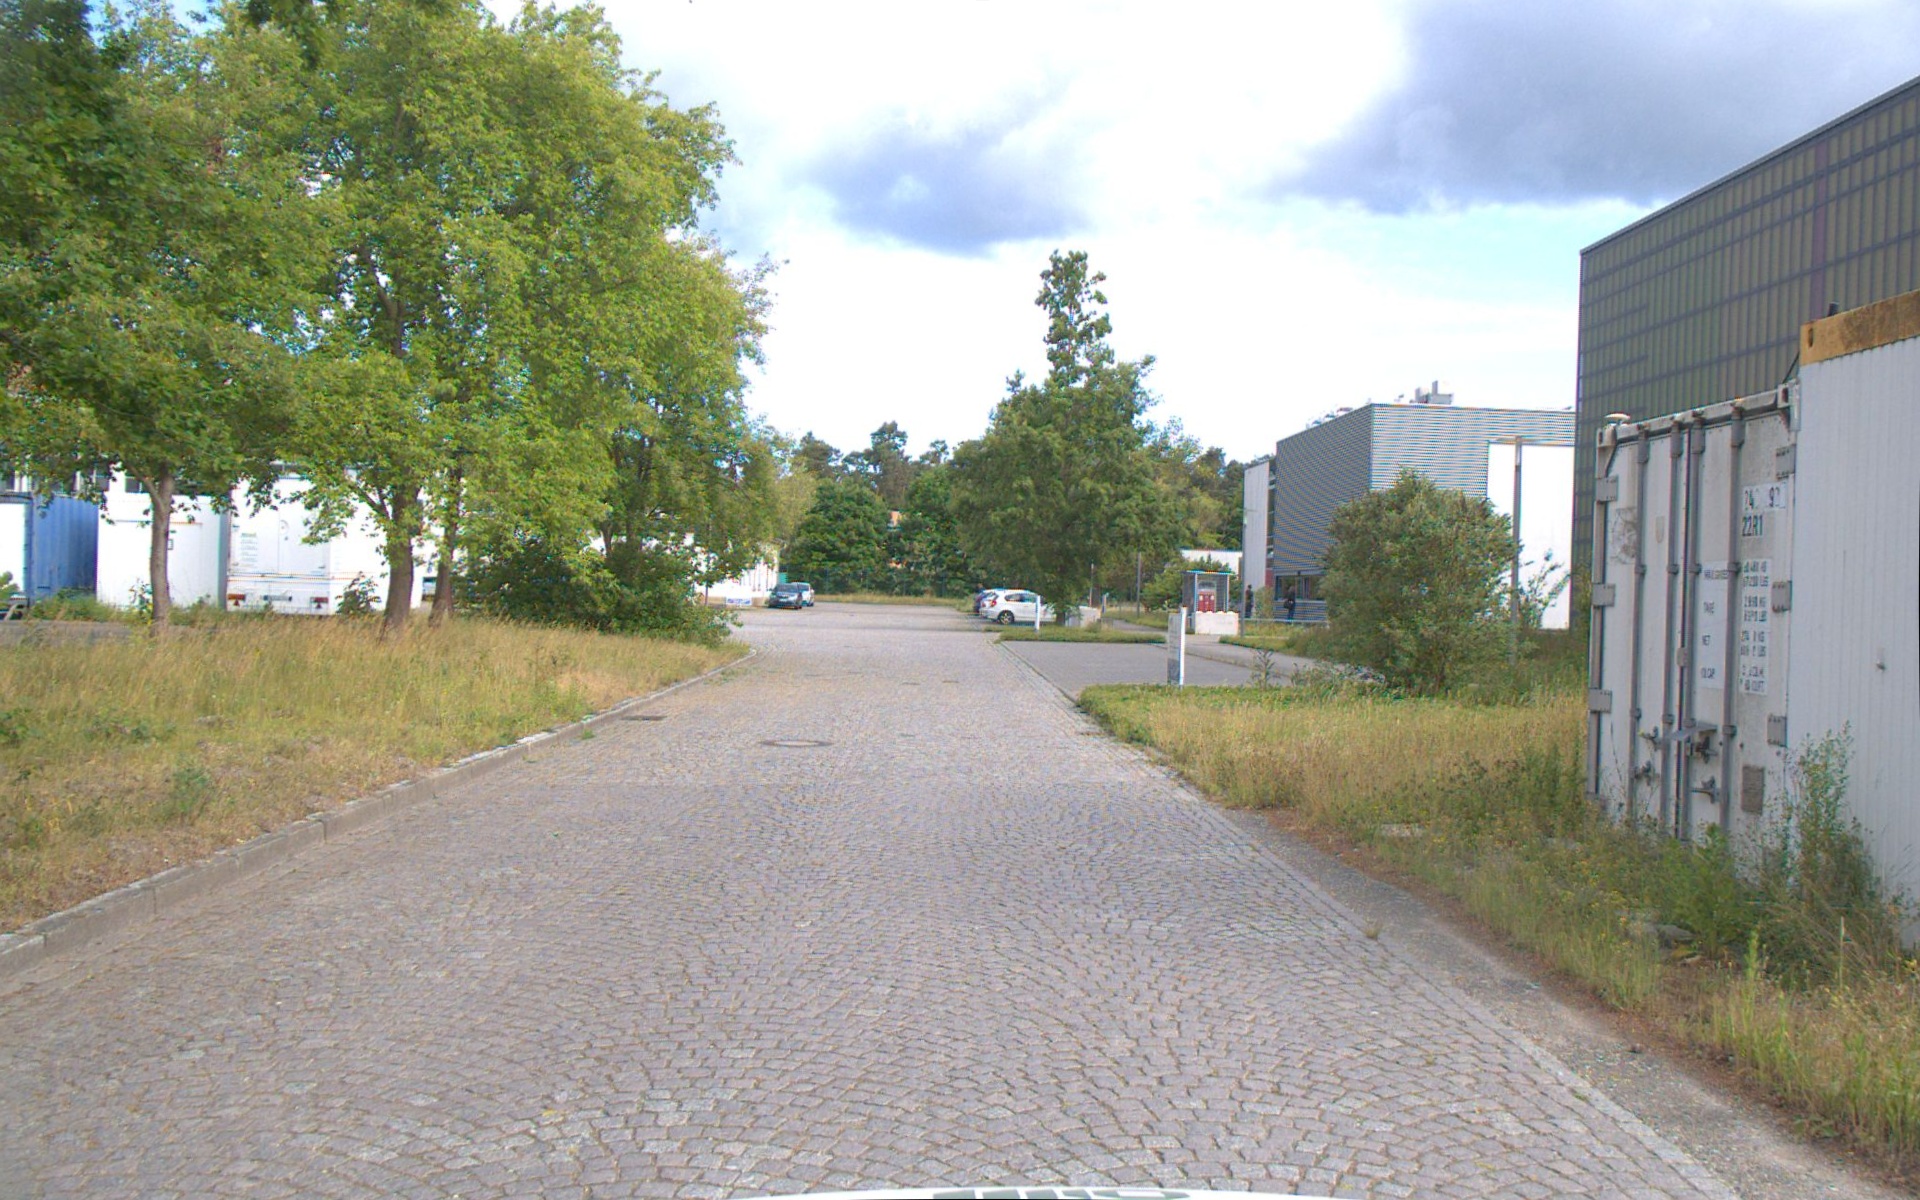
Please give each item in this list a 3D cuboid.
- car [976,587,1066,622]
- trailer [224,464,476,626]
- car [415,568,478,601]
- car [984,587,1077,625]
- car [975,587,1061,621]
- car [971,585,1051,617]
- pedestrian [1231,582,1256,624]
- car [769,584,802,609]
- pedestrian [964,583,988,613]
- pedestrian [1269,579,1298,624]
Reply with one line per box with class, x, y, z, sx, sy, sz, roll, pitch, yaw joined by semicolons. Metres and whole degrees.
car;2.715;0.199;74.351;3.906;1.481;1.697;1;0;-2
trailer;-15.982;-1.331;44.436;2.602;3.770;10.722;1;0;1
car;-25.835;-0.765;83.349;1.862;1.602;4.000;1;0;0
car;3.065;0.267;72.193;3.906;1.481;1.999;2;0;-2
car;2.687;0.162;77.391;3.906;1.481;1.769;1;0;-2
car;2.606;0.041;85.509;3.910;1.560;1.998;1;0;-6
pedestrian;13.904;0.136;81.151;0.903;2.049;1.145;1;0;-7
car;-10.095;-0.198;95.746;1.714;1.387;3.997;1;0;-4
pedestrian;0.854;-0.109;88.639;0.950;1.595;0.941;1;0;31
pedestrian;14.249;0.073;72.900;0.911;1.970;0.843;2;0;-40
